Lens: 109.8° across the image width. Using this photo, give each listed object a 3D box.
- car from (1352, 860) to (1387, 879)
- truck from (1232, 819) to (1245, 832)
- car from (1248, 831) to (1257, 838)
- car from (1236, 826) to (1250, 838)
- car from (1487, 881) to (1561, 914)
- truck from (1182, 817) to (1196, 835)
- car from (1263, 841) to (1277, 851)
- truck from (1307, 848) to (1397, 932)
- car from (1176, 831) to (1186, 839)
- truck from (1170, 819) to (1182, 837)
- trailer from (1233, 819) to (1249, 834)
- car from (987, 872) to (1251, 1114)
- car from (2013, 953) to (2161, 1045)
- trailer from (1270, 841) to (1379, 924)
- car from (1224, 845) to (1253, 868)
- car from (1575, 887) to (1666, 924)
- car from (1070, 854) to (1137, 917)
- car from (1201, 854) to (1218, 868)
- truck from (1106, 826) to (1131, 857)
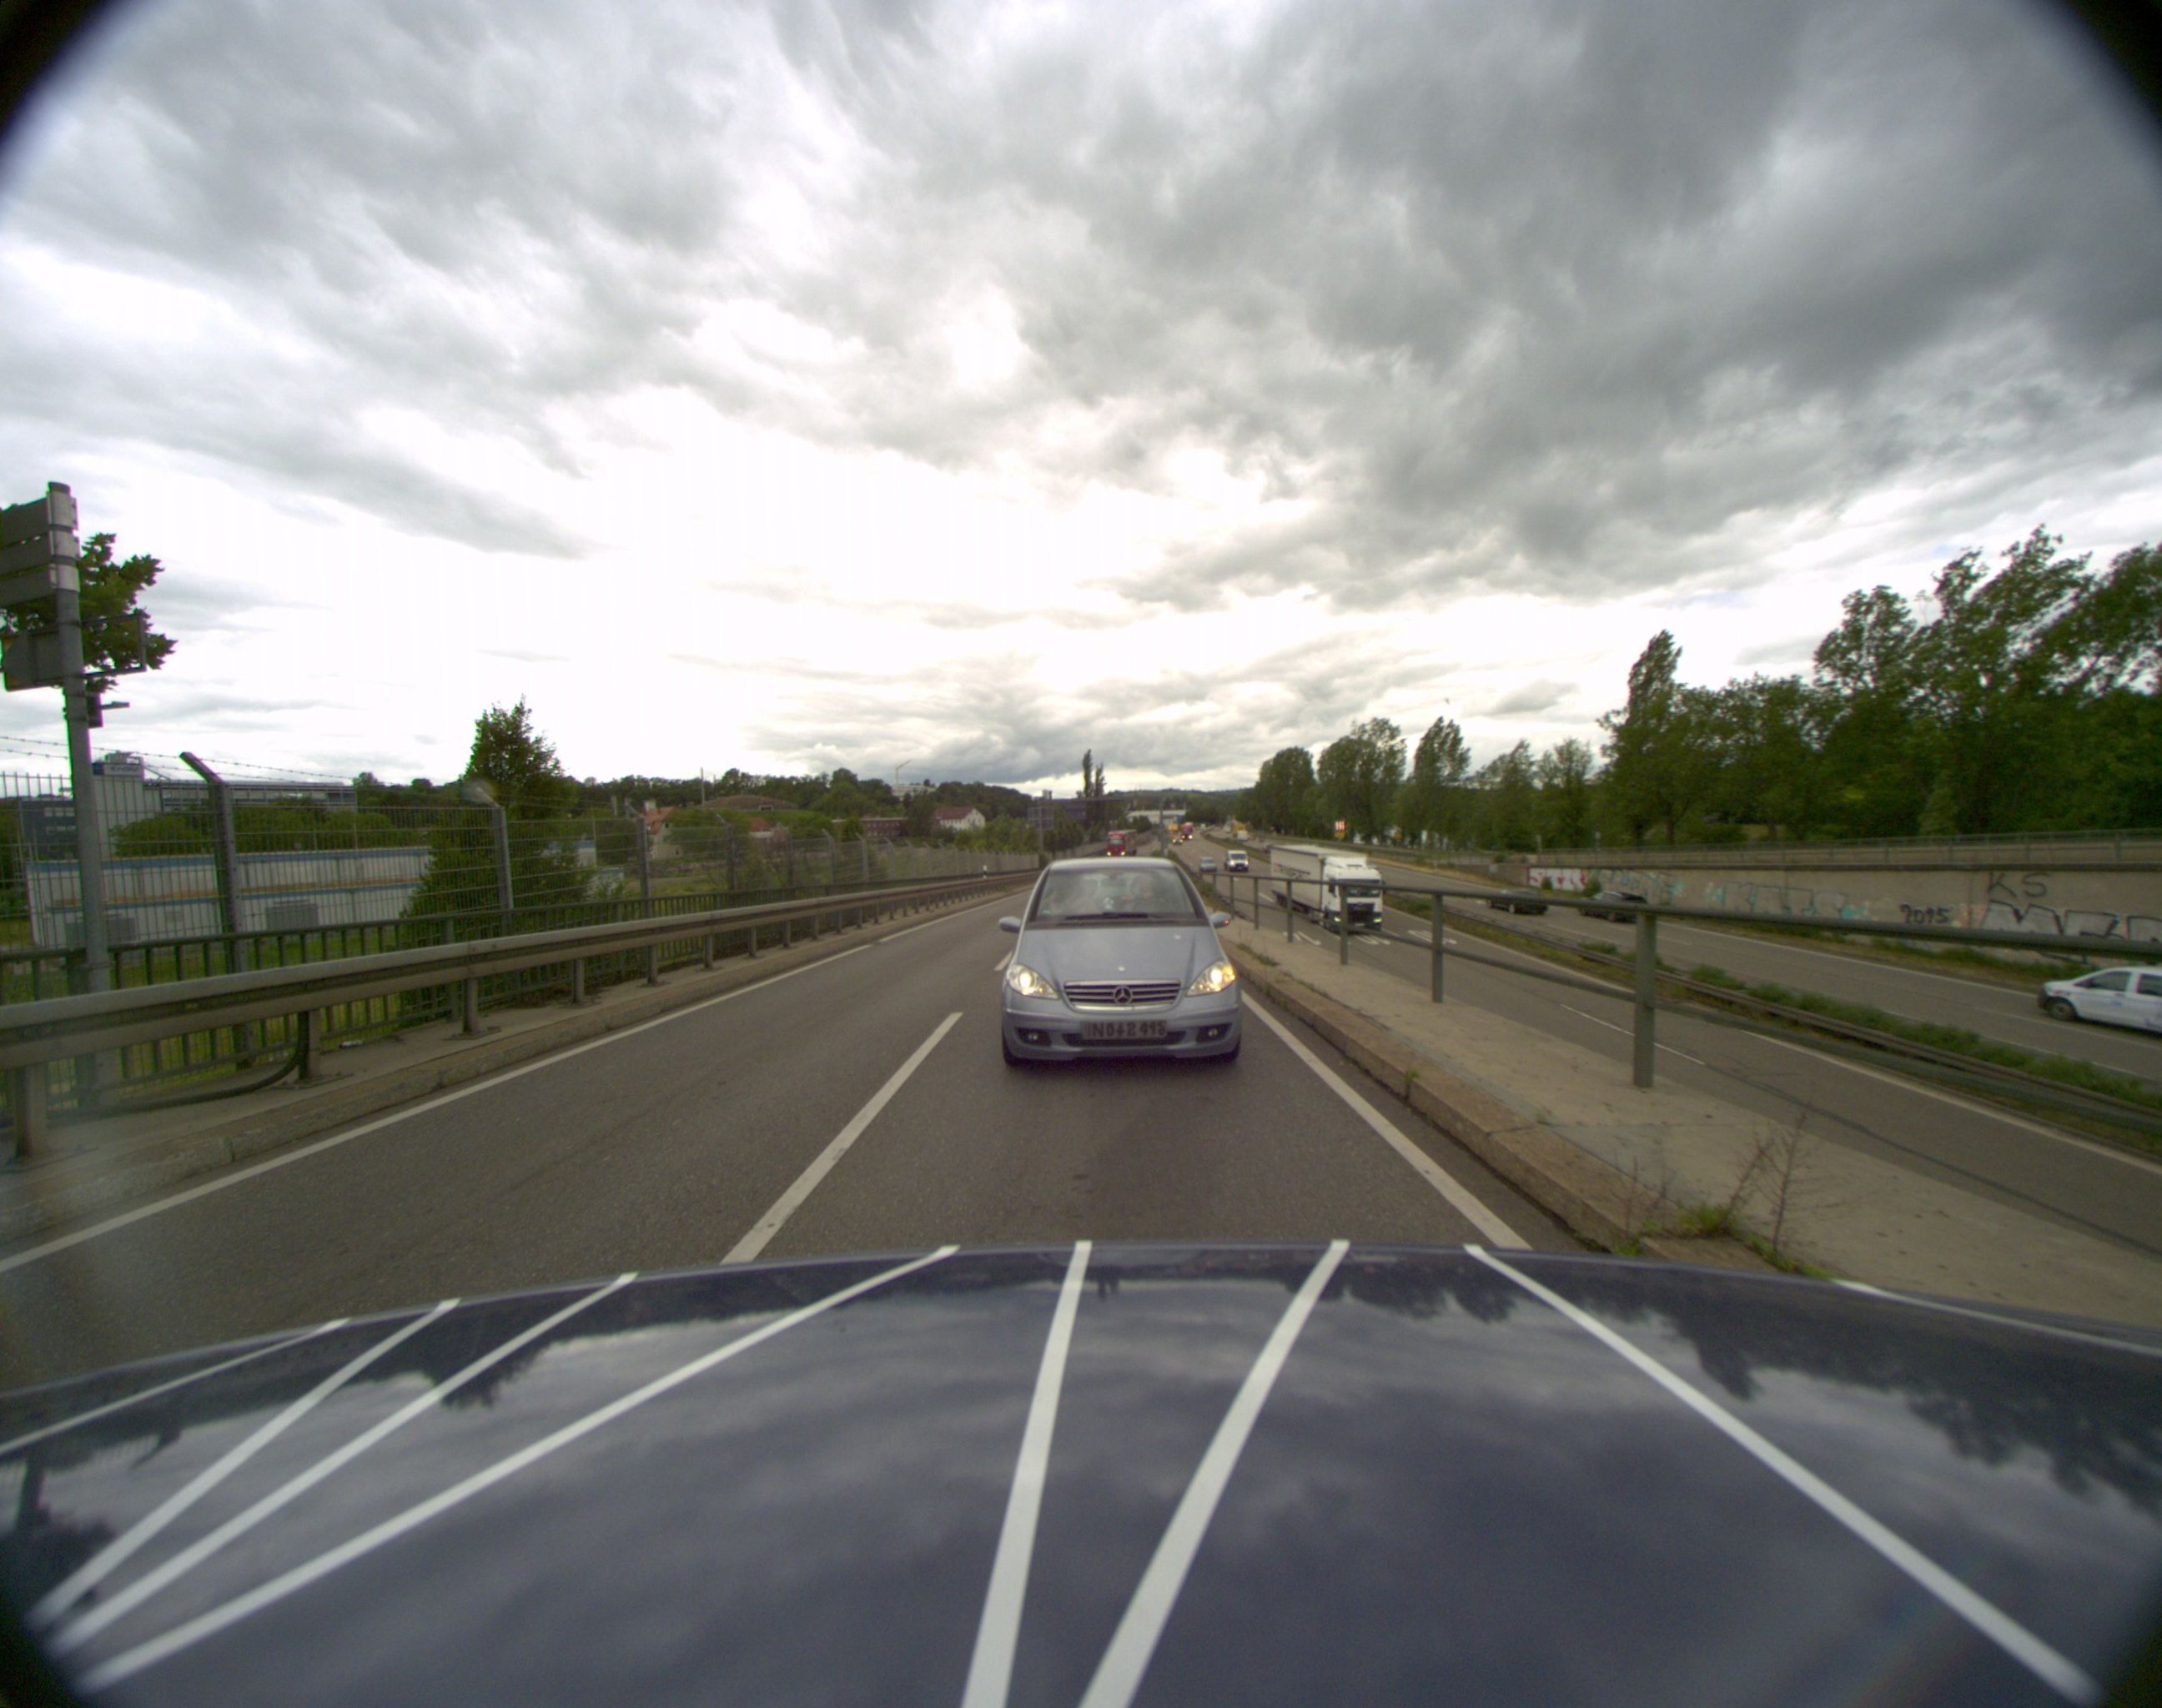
[{"bbox_3d":[26.640,1.424,70.298,1.778,1.486,3.896,1,3,2],"label":"car"},{"bbox_3d":[48.359,-8.774,233.487,3.247,4.159,5.803,0,3,5],"label":"truck"},{"bbox_3d":[43.735,-5.041,193.800,1.662,1.643,3.772,0,3,4],"label":"car"},{"bbox_3d":[38.494,-5.230,180.297,2.172,2.580,6.099,-1,3,1],"label":"car"},{"bbox_3d":[27.882,2.705,48.027,1.998,1.617,4.577,0,3,1],"label":"car"},{"bbox_3d":[28.735,-7.498,202.898,2.754,4.712,9.916,1,3,4],"label":"truck"},{"bbox_3d":[30.146,-1.254,121.452,1.717,1.446,3.650,-1,3,6],"label":"car"},{"bbox_3d":[14.766,1.832,41.857,3.010,4.087,5.872,0,3,2],"label":"truck"},{"bbox_3d":[21.164,-4.047,161.105,1.810,1.658,3.999,-1,3,4],"label":"car"},{"bbox_3d":[22.856,-6.388,183.661,2.415,4.100,8.169,0,3,4],"label":"truck"},{"bbox_3d":[47.722,-8.368,226.670,3.247,4.239,13.678,0,3,5],"label":"trailer"},{"bbox_3d":[0.287,0.971,7.044,1.743,1.534,3.993,-1,0,1],"label":"car"},{"bbox_3d":[29.876,4.118,21.068,1.952,1.897,4.908,-1,3,1],"label":"car"},{"bbox_3d":[15.076,1.469,48.641,3.010,4.087,13.983,0,3,2],"label":"trailer"},{"bbox_3d":[17.469,0.200,84.594,2.104,2.231,6.498,0,3,3],"label":"car"},{"bbox_3d":[31.139,2.934,44.026,1.998,1.617,4.577,0,3,1],"label":"car"},{"bbox_3d":[0.656,0.911,23.376,1.830,1.701,4.001,-2,-1,1],"label":"car"},{"bbox_3d":[14.228,0.736,84.164,1.512,1.365,3.536,0,3,3],"label":"car"},{"bbox_3d":[5.416,-1.861,107.982,3.101,3.990,8.487,-1,4,5],"label":"truck"}]
